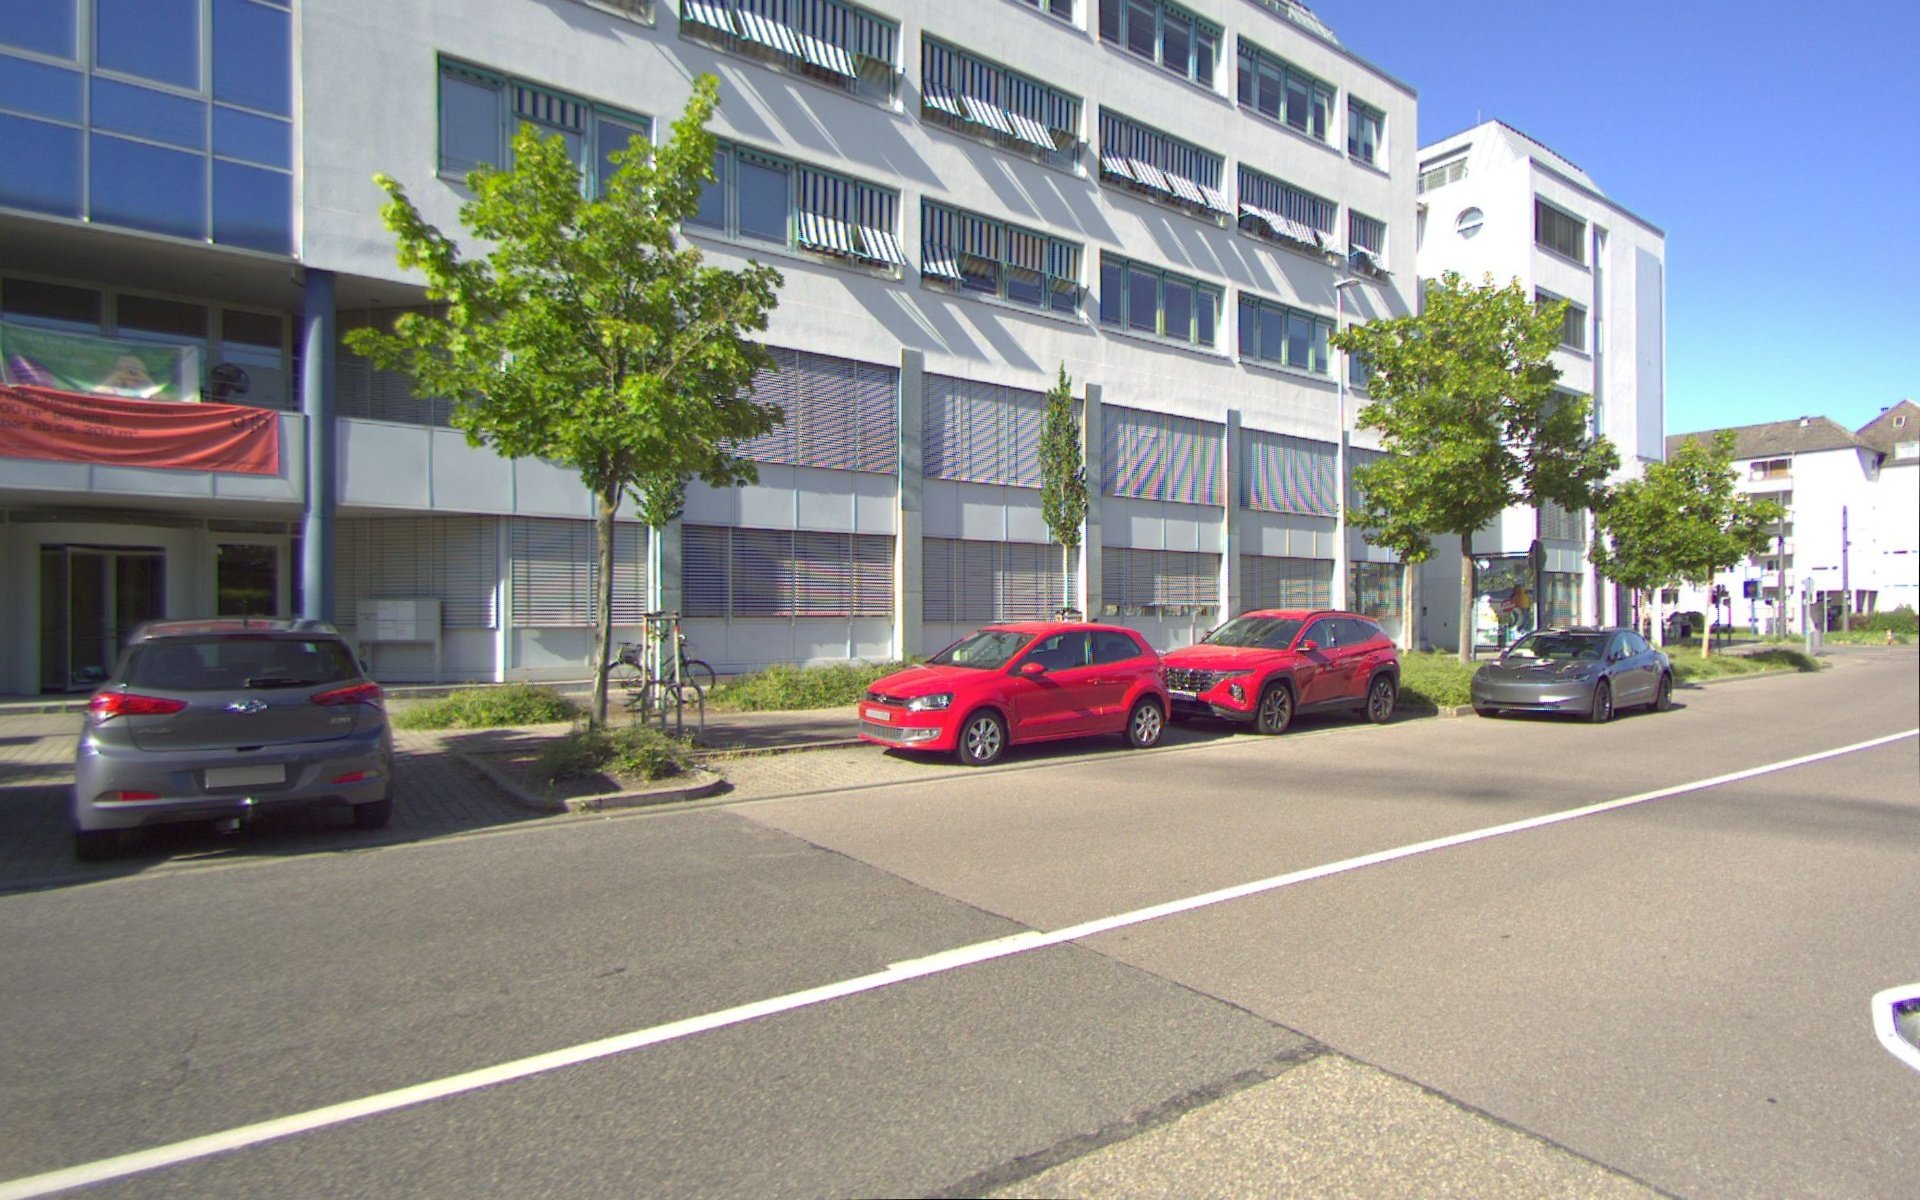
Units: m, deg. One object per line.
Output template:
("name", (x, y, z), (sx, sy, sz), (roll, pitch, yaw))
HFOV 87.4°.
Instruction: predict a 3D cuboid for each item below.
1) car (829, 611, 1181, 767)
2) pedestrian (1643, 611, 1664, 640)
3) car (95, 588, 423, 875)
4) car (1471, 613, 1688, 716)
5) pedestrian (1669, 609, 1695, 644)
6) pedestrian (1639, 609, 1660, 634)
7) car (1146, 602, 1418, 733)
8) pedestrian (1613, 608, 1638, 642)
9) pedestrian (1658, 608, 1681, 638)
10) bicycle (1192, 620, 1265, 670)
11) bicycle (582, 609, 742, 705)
("car", (0.592, 0.892, 11.555), (3.834, 1.451, 1.676), (1, 1, -36))
("pedestrian", (42.964, 1.563, 62.217), (1.145, 1.749, 0.804), (0, -1, -41))
("car", (-5.670, 0.740, 7.960), (1.679, 1.558, 4.349), (0, 1, -39))
("car", (10.370, 0.977, 16.675), (4.508, 1.488, 1.675), (1, -2, -39))
("pedestrian", (36.270, 1.315, 50.439), (1.145, 1.749, 0.804), (0, -1, -41))
("pedestrian", (48.843, 1.530, 71.172), (0.797, 1.749, 1.155), (-1, -1, 6))
("car", (4.823, 0.883, 14.769), (4.272, 1.629, 1.675), (1, 1, -38))
("pedestrian", (34.798, 1.305, 52.535), (1.145, 1.749, 0.804), (0, -1, -41))
("pedestrian", (42.763, 1.386, 60.543), (1.145, 1.794, 0.913), (0, -1, -41))
("bicycle", (6.024, 1.006, 22.631), (0.549, 1.083, 1.761), (0, -2, -27))
("bicycle", (-4.459, 0.828, 15.090), (2.206, 1.365, 0.706), (1, -2, -30))
